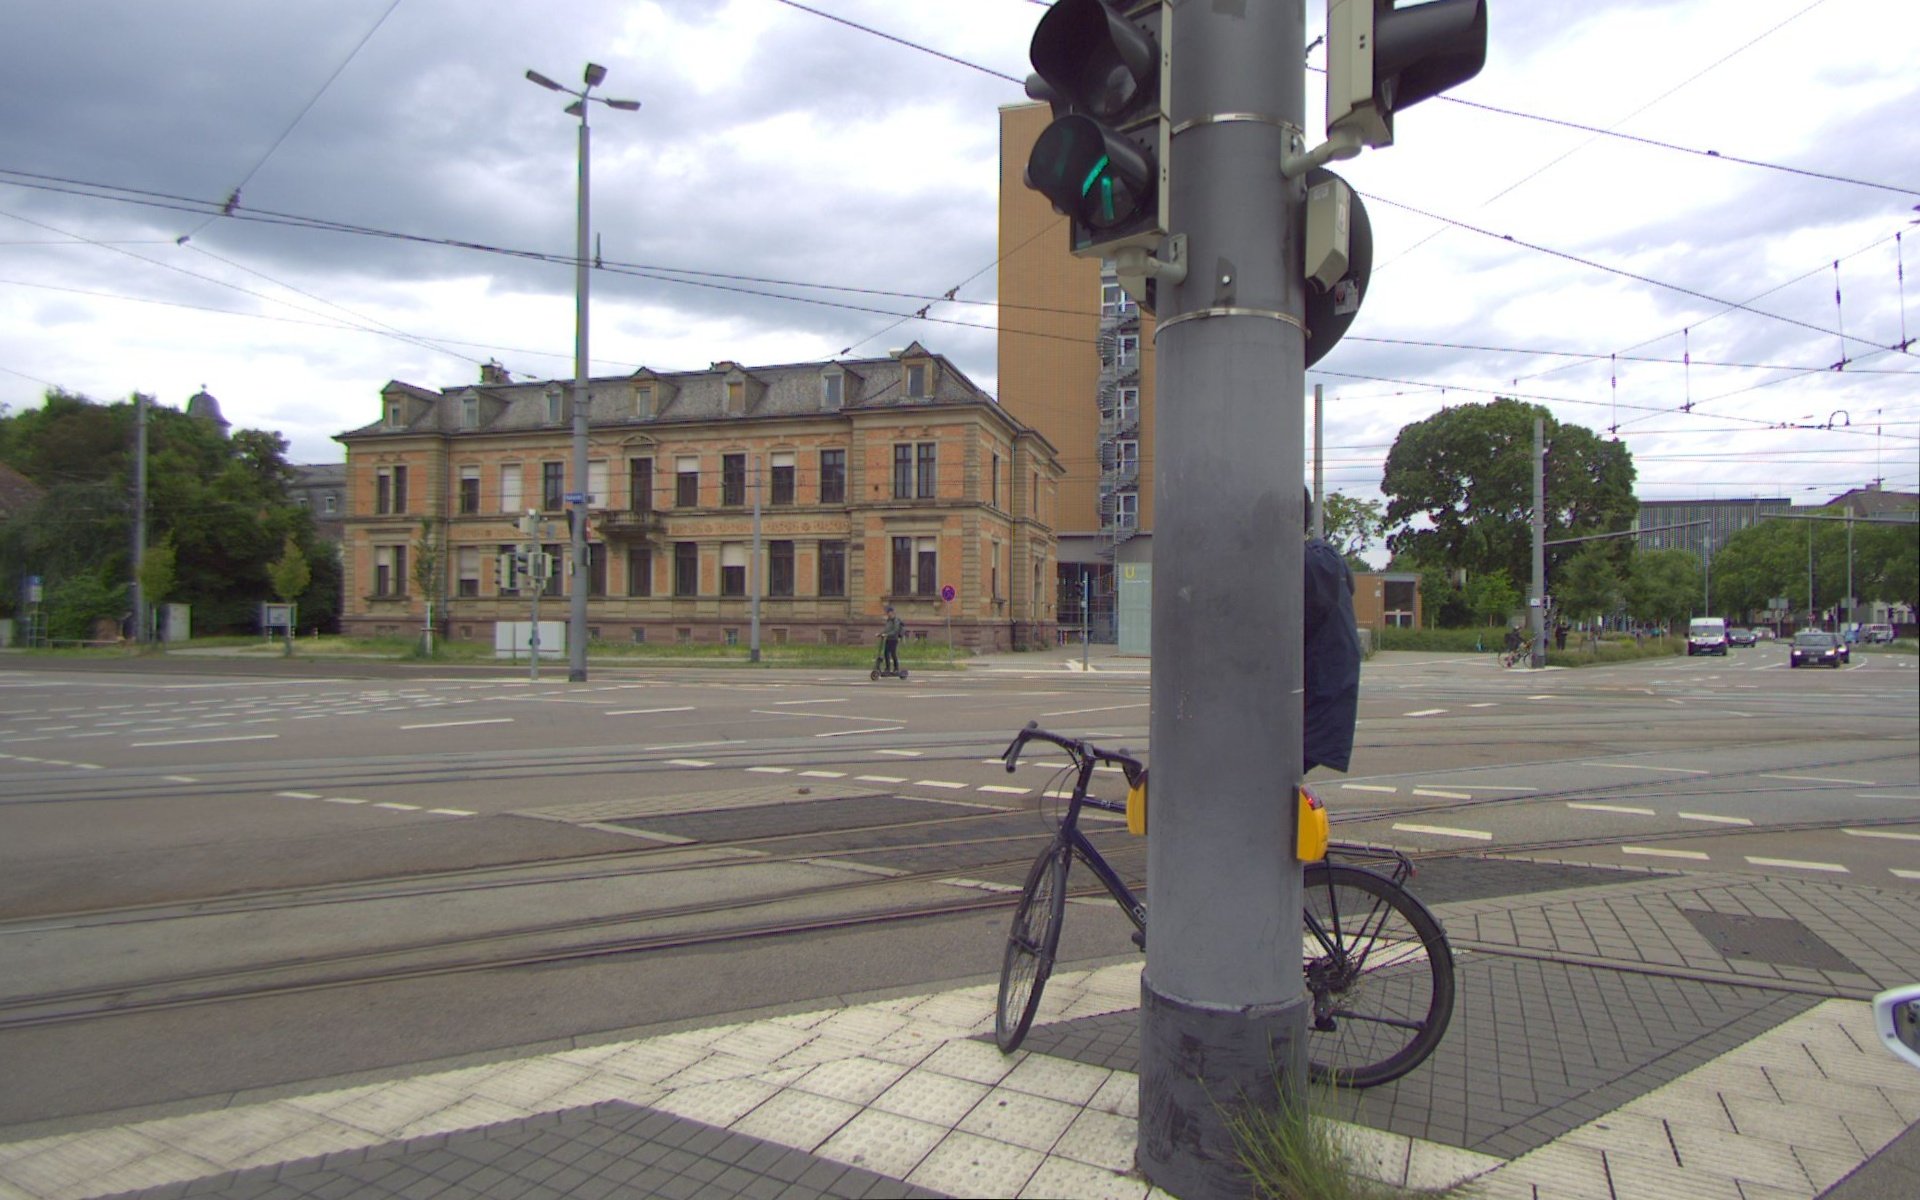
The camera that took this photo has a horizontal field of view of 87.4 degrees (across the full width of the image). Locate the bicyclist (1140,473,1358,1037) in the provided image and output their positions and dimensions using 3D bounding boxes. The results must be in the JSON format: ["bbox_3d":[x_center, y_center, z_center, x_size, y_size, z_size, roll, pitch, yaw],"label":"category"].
[{"bbox_3d":[0.968,0.462,3.328,0.642,1.661,0.518,0,-1,22],"label":"bicyclist"}]

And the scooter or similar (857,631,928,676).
[{"bbox_3d":[-1.825,1.427,26.937,1.872,1.180,0.573,0,-1,-8],"label":"scooter or similar"}]

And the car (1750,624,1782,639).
[{"bbox_3d":[94.661,3.705,118.004,1.962,1.661,3.996,0,-1,25],"label":"car"}]

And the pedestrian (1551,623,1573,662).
[{"bbox_3d":[31.137,2.183,51.946,0.654,2.007,0.811,1,-1,-43],"label":"pedestrian"}]

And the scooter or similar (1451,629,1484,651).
[{"bbox_3d":[30.898,2.434,61.117,1.744,1.319,0.629,-1,-1,30],"label":"scooter or similar"}]

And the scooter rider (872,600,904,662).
[{"bbox_3d":[-1.940,0.824,26.899,0.807,1.649,0.569,0,-1,-8],"label":"scooter rider"}]

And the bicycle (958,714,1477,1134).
[{"bbox_3d":[0.824,0.976,3.387,1.583,1.084,0.528,0,-2,22],"label":"bicycle"}]

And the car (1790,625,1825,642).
[{"bbox_3d":[94.506,3.723,112.085,1.962,1.773,3.997,0,-1,25],"label":"car"}]

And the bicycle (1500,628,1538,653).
[{"bbox_3d":[33.983,2.461,61.085,2.223,1.468,0.844,1,-1,-24],"label":"bicycle"}]

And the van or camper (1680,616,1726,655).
[{"bbox_3d":[50.167,2.385,67.775,2.251,2.561,5.550,-2,-2,38],"label":"van or camper"}]

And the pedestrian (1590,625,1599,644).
[{"bbox_3d":[52.361,2.855,82.899,0.554,1.562,0.752,0,-1,38],"label":"pedestrian"}]

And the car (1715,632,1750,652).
[{"bbox_3d":[68.664,3.694,89.336,1.844,1.747,4.703,-2,-2,31],"label":"car"}]

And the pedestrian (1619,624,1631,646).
[{"bbox_3d":[57.985,3.061,87.593,0.881,1.867,0.665,-1,-1,35],"label":"pedestrian"}]

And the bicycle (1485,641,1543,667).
[{"bbox_3d":[24.320,2.365,44.116,0.789,1.042,2.094,-3,0,-42],"label":"bicycle"}]

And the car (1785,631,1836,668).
[{"bbox_3d":[37.422,2.149,44.168,1.600,1.535,3.645,-2,-2,42],"label":"car"}]

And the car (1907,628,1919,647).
[{"bbox_3d":[80.641,3.134,83.361,1.964,1.559,3.994,0,-1,28],"label":"car"}]

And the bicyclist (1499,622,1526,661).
[{"bbox_3d":[24.279,1.819,44.139,0.788,1.679,0.805,-2,2,-43],"label":"bicyclist"}]

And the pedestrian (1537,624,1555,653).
[{"bbox_3d":[35.517,2.328,60.854,0.681,1.756,0.740,1,-2,-43],"label":"pedestrian"}]

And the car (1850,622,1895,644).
[{"bbox_3d":[87.721,3.166,96.601,1.961,2.040,3.999,0,-1,22],"label":"car"}]

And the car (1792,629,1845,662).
[{"bbox_3d":[42.945,2.272,50.233,1.850,1.527,4.454,-4,-4,42],"label":"car"}]

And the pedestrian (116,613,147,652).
[{"bbox_3d":[-39.977,1.548,48.479,0.832,1.857,0.810,0,-1,16],"label":"pedestrian"}]
